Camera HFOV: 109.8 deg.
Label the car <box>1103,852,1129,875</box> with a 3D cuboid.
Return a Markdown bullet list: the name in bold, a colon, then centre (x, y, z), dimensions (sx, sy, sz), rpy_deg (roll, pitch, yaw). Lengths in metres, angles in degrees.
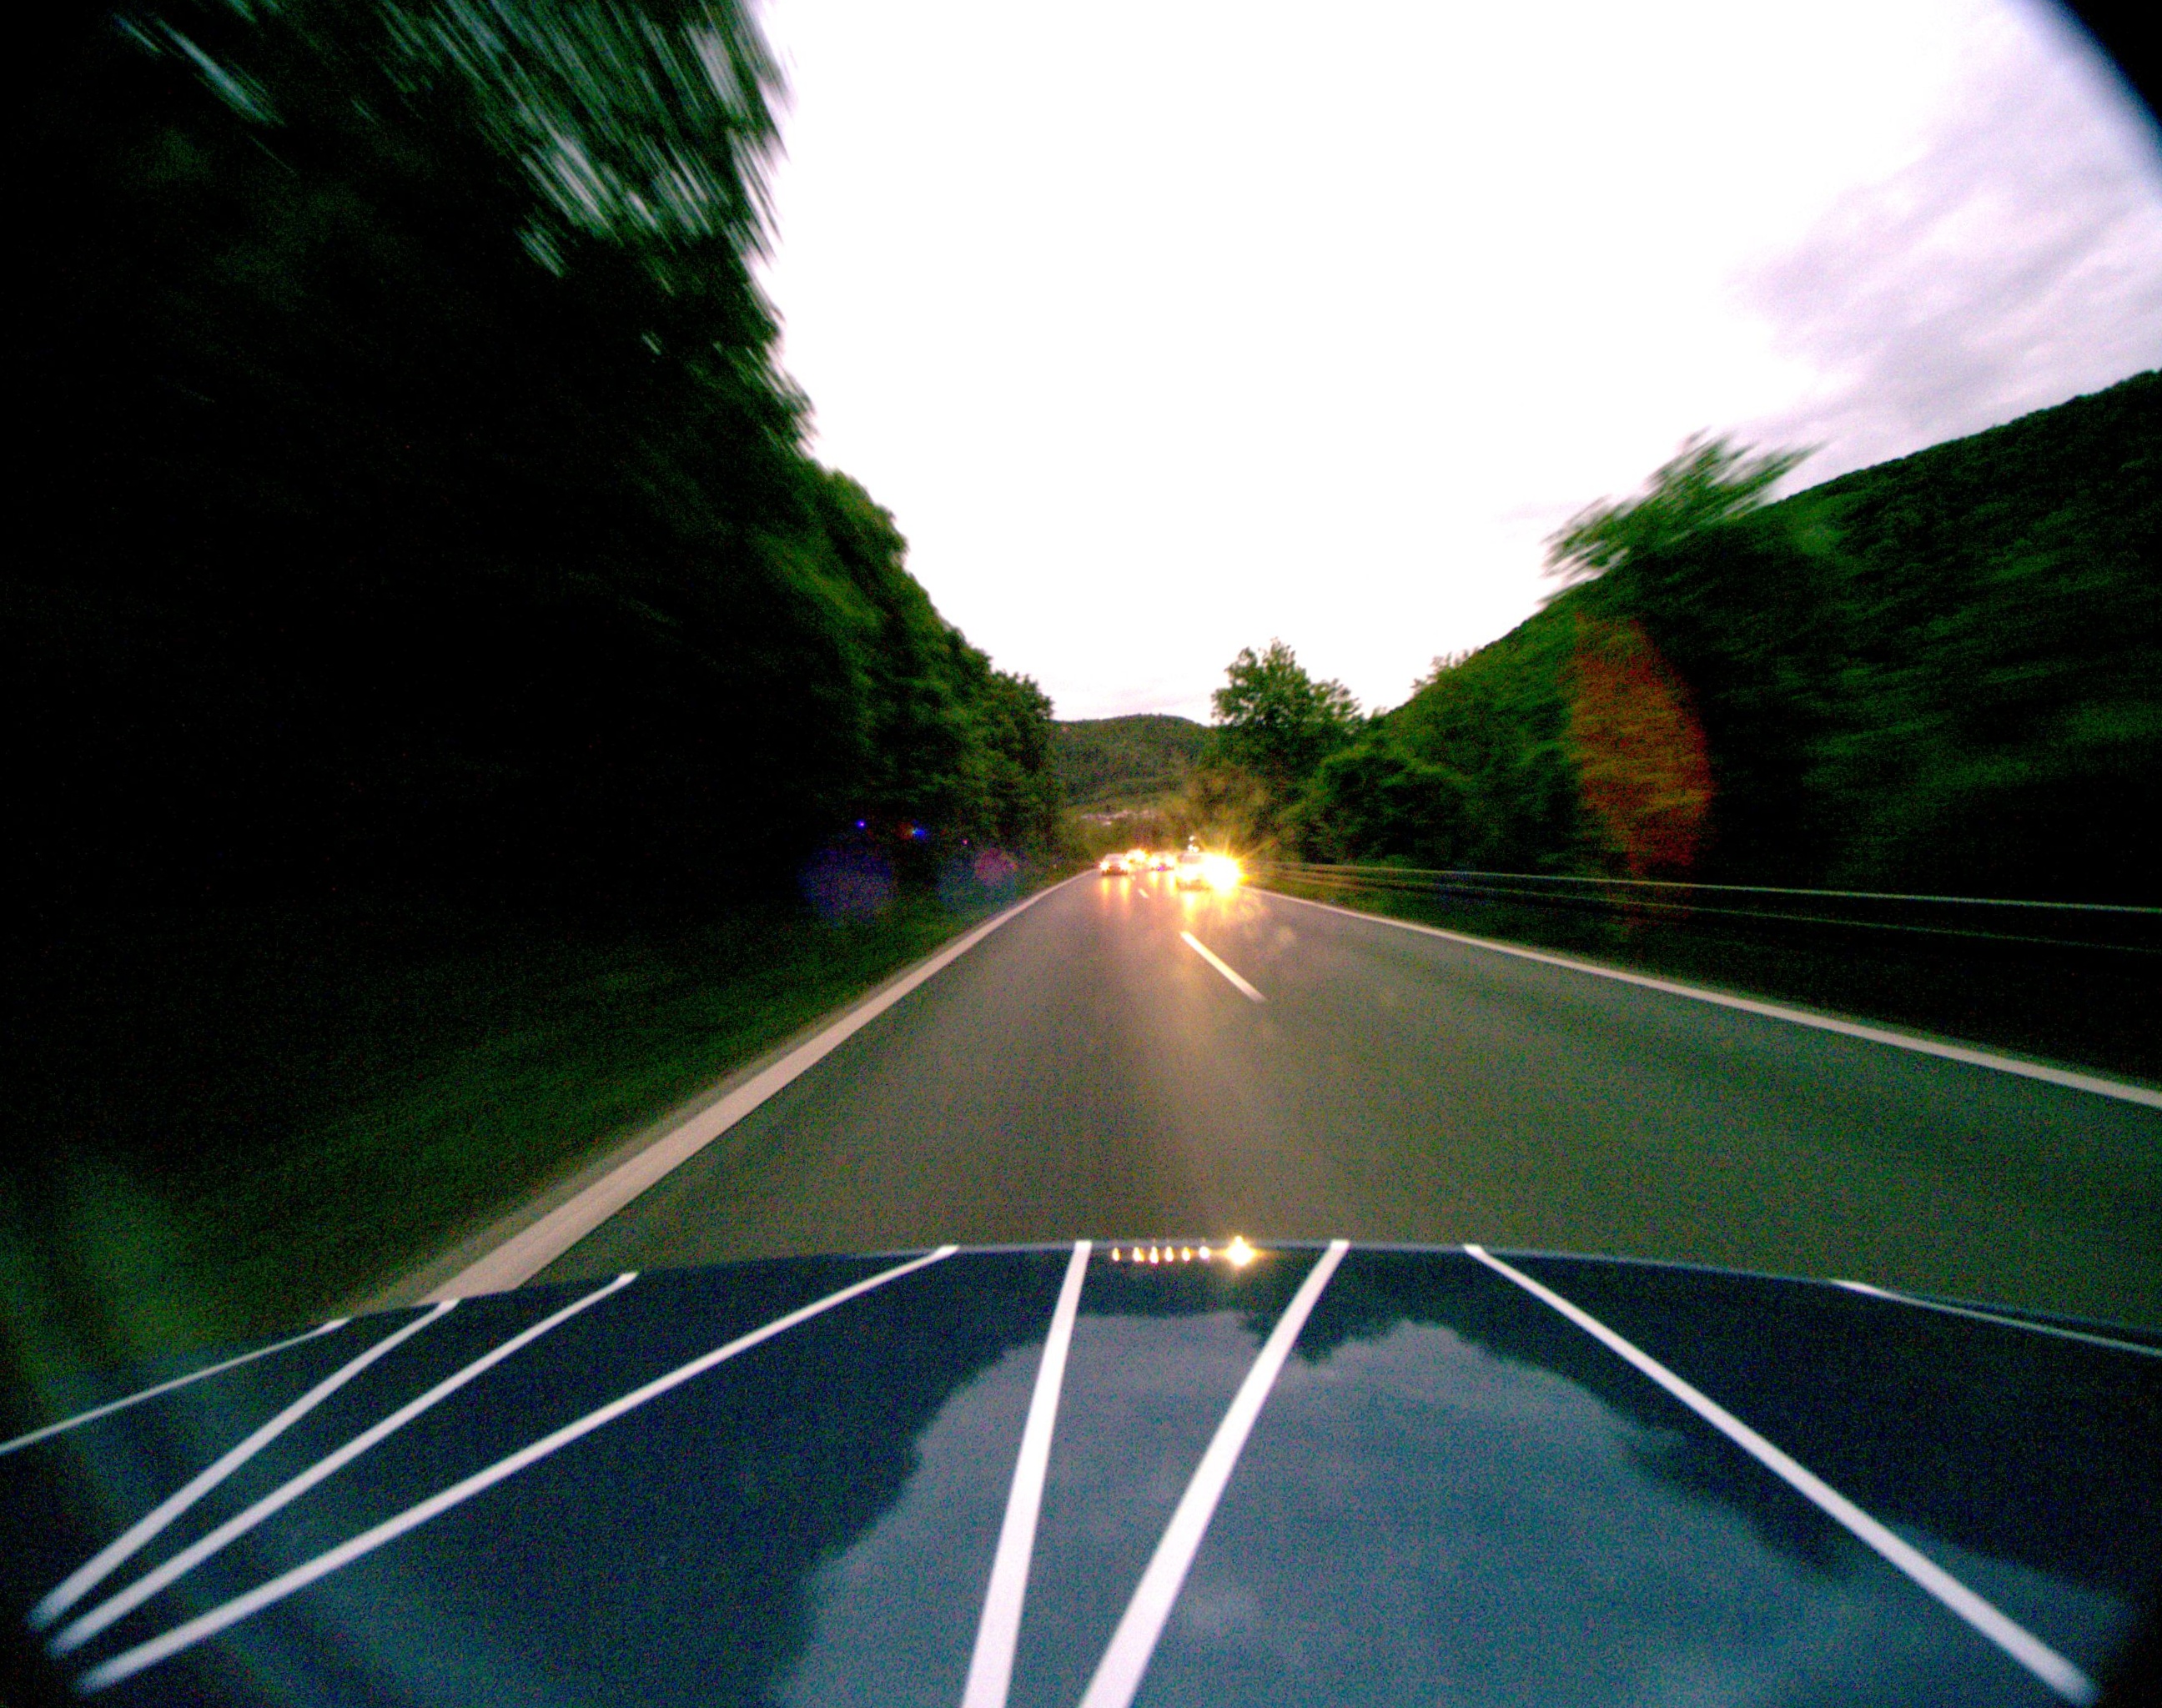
- **car**: centre (2.457, 0.657, 53.445), dimensions (1.690, 1.443, 3.669), rpy_deg (-3, 0, 3)

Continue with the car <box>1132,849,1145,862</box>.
- **car**: centre (7.826, 0.227, 103.569), dimensions (1.737, 1.641, 3.669), rpy_deg (-3, 0, 4)

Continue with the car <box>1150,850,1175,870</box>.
- **car**: centre (6.556, 0.468, 61.575), dimensions (1.690, 1.425, 3.669), rpy_deg (-3, 0, 3)

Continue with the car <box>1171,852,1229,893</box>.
- **car**: centre (4.742, 0.711, 30.766), dimensions (1.690, 1.460, 3.767), rpy_deg (-3, 0, 0)
